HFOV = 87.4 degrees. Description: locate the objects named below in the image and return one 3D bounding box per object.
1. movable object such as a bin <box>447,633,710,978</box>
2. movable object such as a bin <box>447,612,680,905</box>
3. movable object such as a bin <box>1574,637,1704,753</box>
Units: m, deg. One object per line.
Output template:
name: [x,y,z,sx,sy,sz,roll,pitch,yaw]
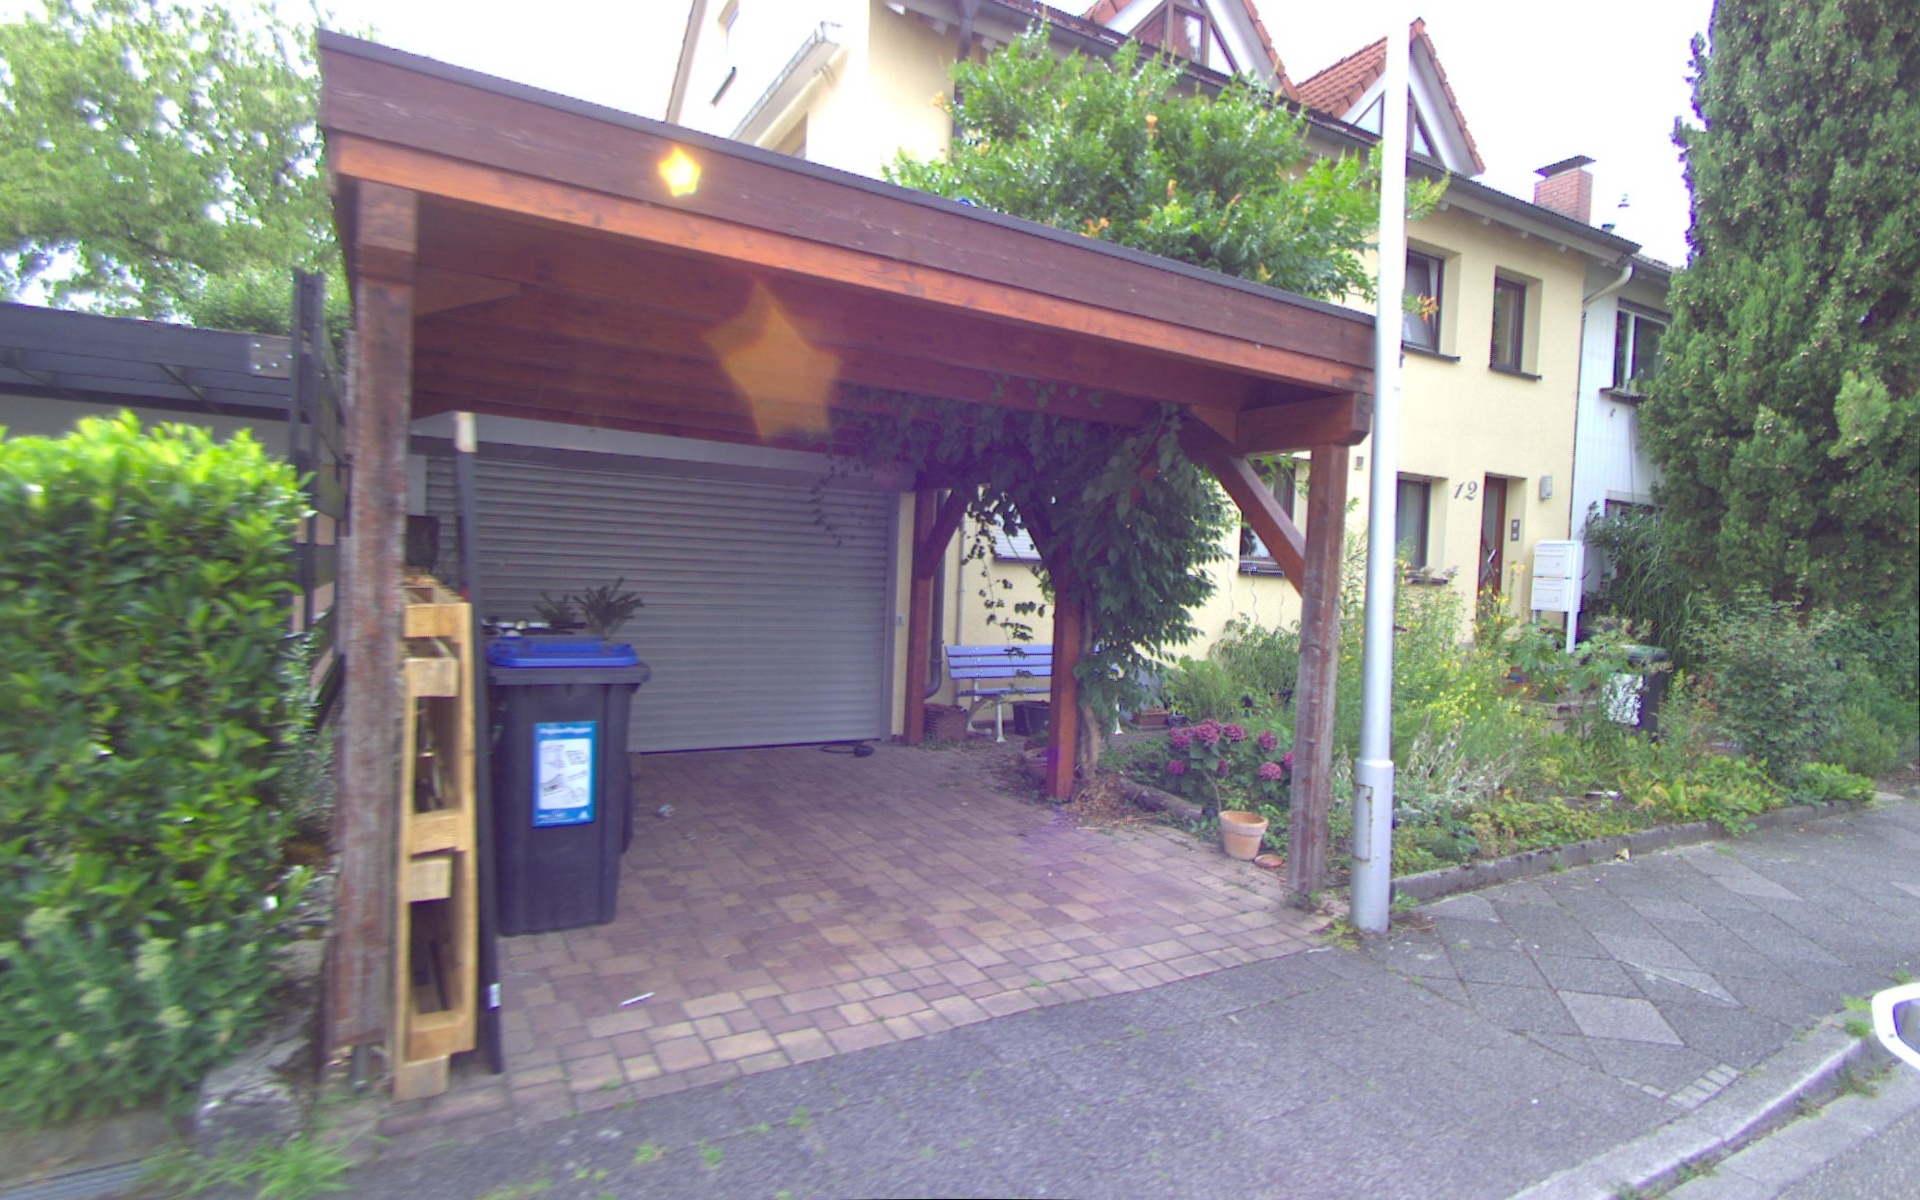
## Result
movable object such as a bin: [-1.464,0.698,3.814,0.812,1.085,0.700,1,3,-30]
movable object such as a bin: [-1.790,0.642,4.508,0.867,1.145,0.700,1,1,-30]
movable object such as a bin: [6.245,0.849,9.250,0.742,0.969,0.708,1,1,-30]
